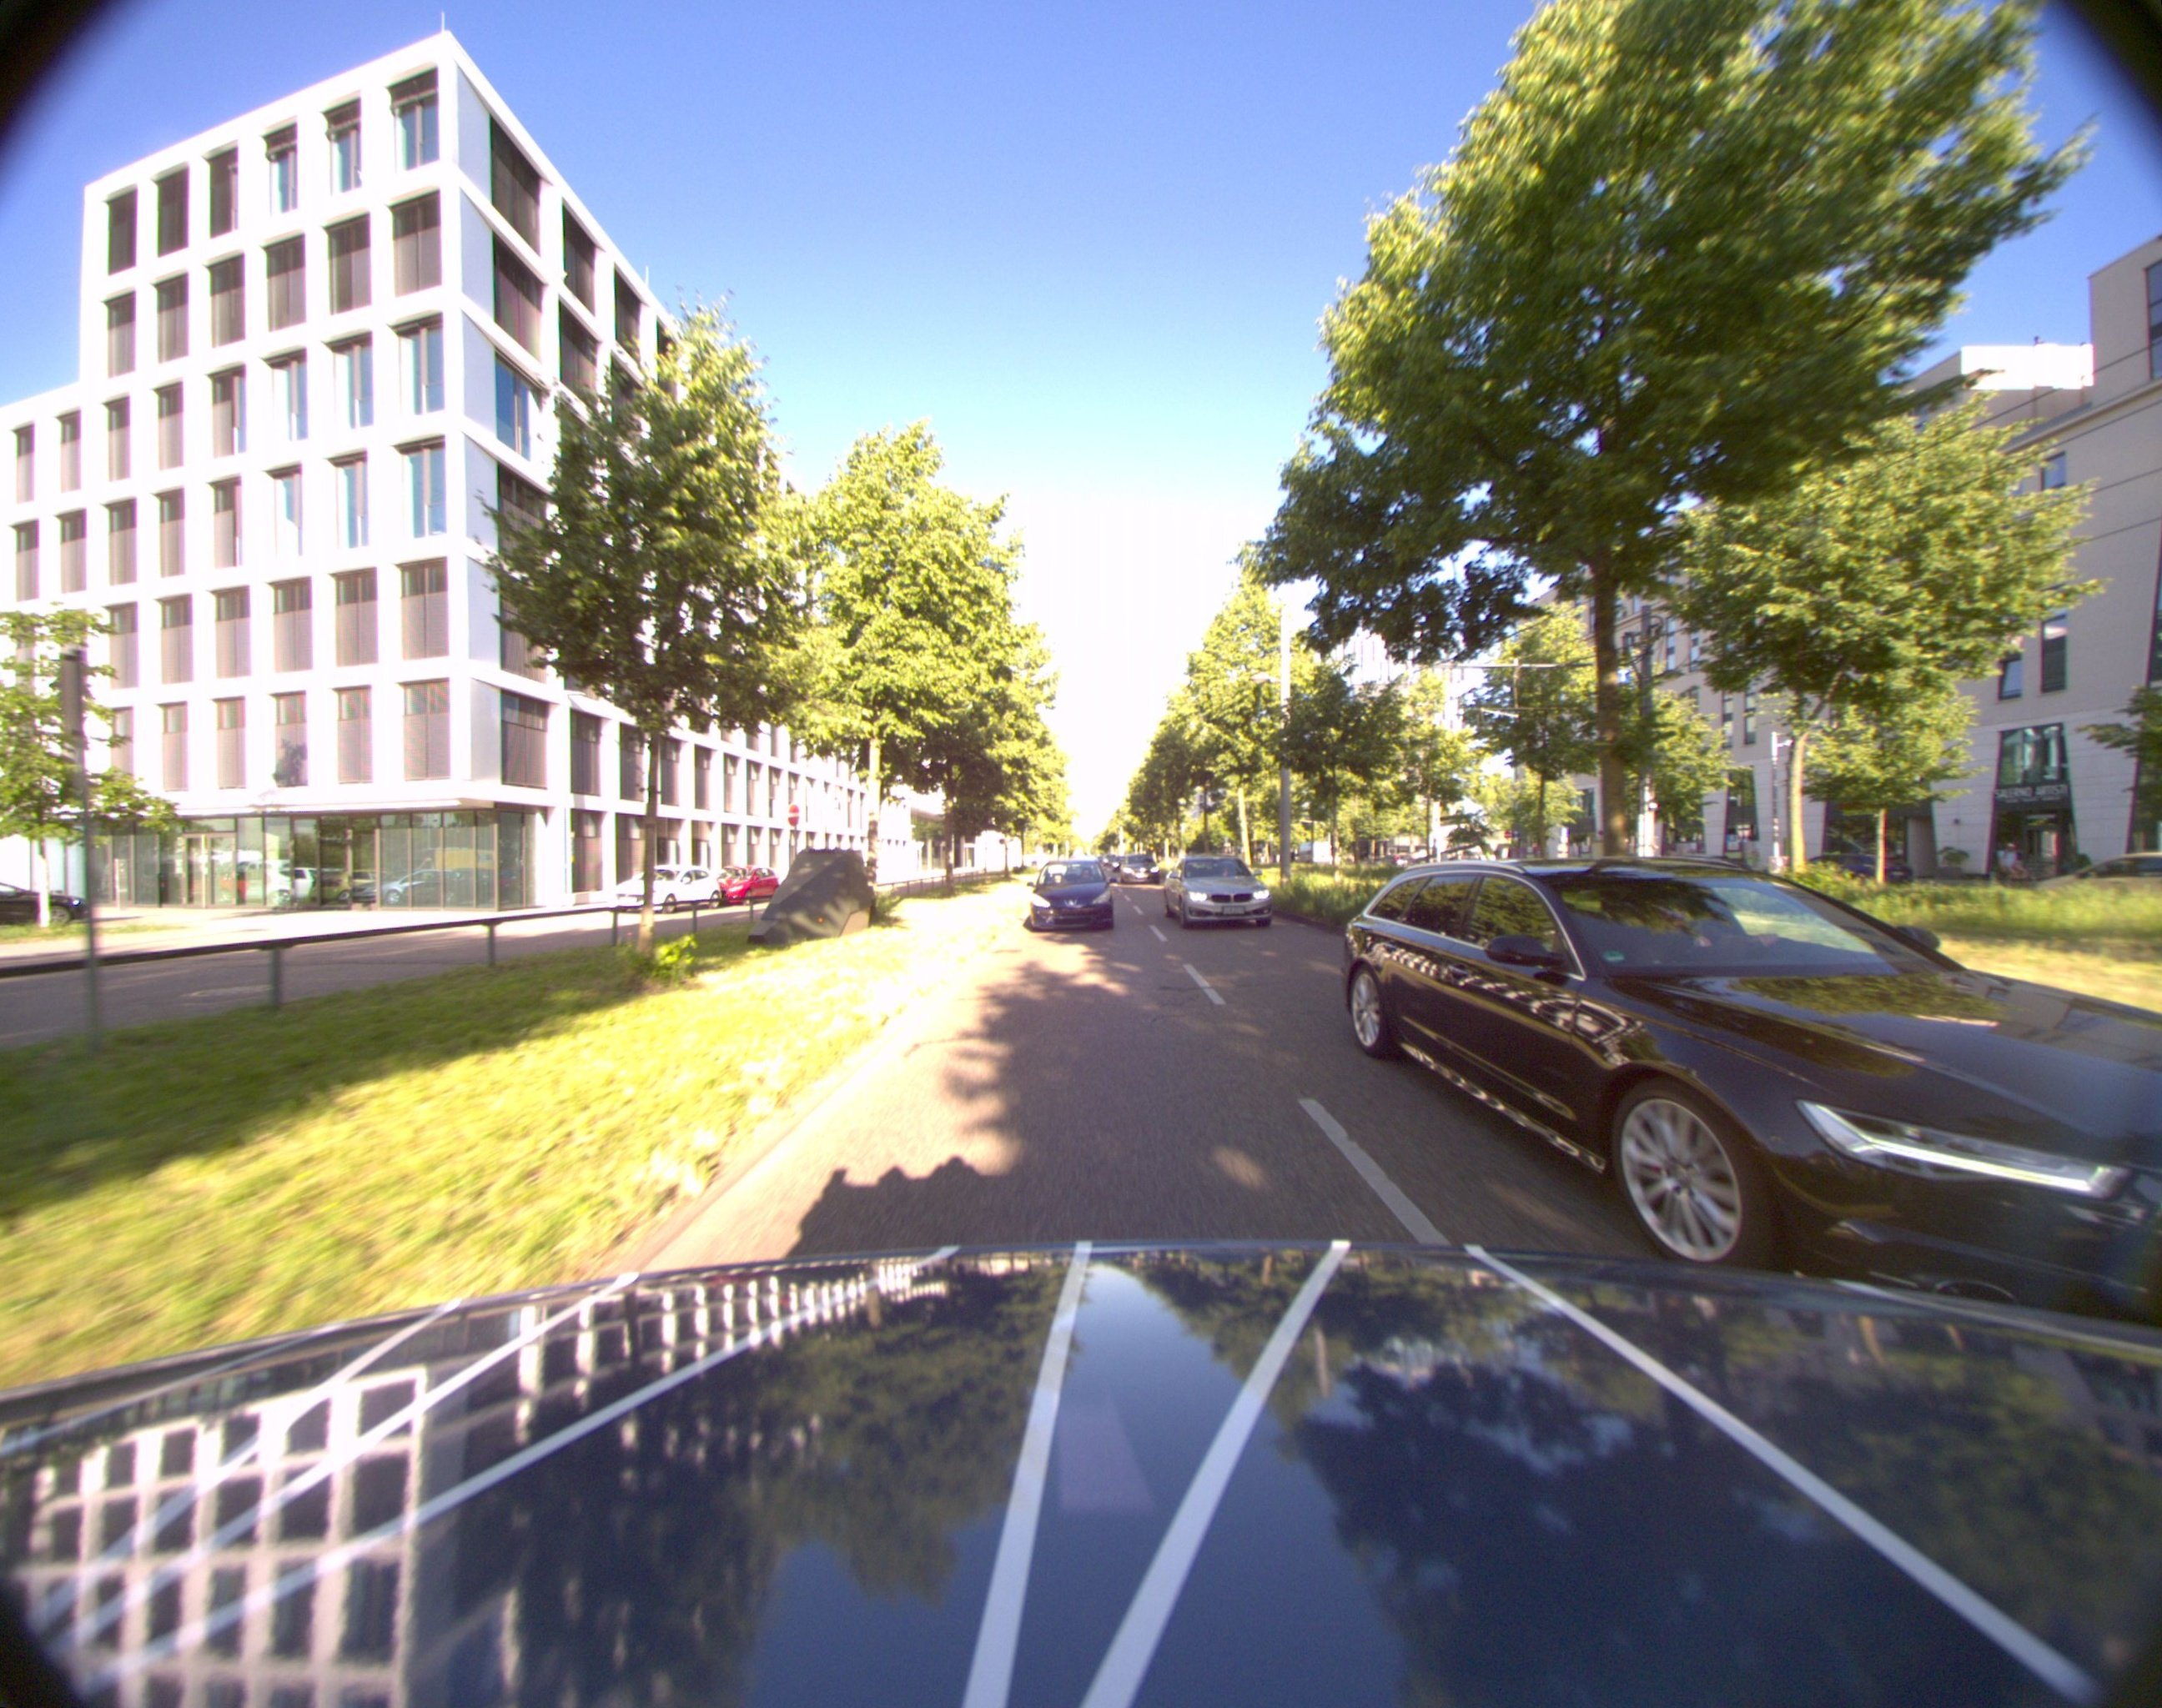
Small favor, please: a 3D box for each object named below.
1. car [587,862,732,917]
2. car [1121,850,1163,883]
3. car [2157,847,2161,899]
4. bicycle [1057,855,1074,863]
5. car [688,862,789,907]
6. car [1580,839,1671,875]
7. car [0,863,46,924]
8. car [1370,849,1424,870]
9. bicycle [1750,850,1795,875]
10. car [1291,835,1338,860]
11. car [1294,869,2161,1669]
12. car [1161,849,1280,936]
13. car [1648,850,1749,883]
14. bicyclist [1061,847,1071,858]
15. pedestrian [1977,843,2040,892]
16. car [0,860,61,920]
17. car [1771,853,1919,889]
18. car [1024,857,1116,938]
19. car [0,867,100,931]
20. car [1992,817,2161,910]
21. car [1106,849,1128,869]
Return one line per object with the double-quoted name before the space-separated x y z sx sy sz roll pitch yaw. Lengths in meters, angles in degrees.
"car" -13.417 1.069 24.563 1.998 1.477 4.403 2 1 4
"car" 3.058 0.588 38.655 1.950 1.514 4.000 -2 1 3
"car" 31.213 0.520 19.355 1.562 1.471 4.271 -2 0 0
"bicycle" -1.863 0.576 91.826 1.927 0.899 0.647 -1 1 4
"car" -13.084 1.107 29.366 1.869 1.477 4.272 2 1 1
"car" 31.946 0.150 44.773 1.999 2.002 4.553 -1 0 -2
"car" -31.195 1.167 20.104 1.996 1.674 4.004 -2 1 17
"car" 23.372 0.374 56.446 1.999 1.433 4.454 -3 1 -2
"bicycle" 39.045 0.468 42.940 0.663 1.317 2.336 -2 1 7
"car" 23.954 -0.623 78.263 2.513 2.368 6.025 -3 1 -5
"car" 2.868 0.849 4.025 1.958 1.471 5.085 -1 -1 -1
"car" 2.905 0.733 16.744 1.886 1.569 4.277 -2 1 1
"car" 31.983 0.610 39.493 1.998 1.563 4.000 -1 0 0
"bicyclist" -1.805 -0.222 91.795 1.086 1.315 0.639 -1 1 4
"pedestrian" 34.207 0.489 28.044 0.844 1.733 1.223 -2 1 1
"car" -33.274 1.144 21.970 1.996 1.761 4.004 -2 1 17
"car" 31.788 0.662 31.804 1.728 1.405 4.336 -1 0 -2
"car" -0.146 0.878 17.067 1.766 1.462 4.000 -2 1 2
"car" -28.534 1.228 19.240 1.996 1.565 4.004 -2 1 16
"car" 24.683 0.172 17.799 1.998 2.002 4.000 -2 1 4
"car" 3.140 0.438 66.424 1.782 1.571 3.783 -2 1 1
